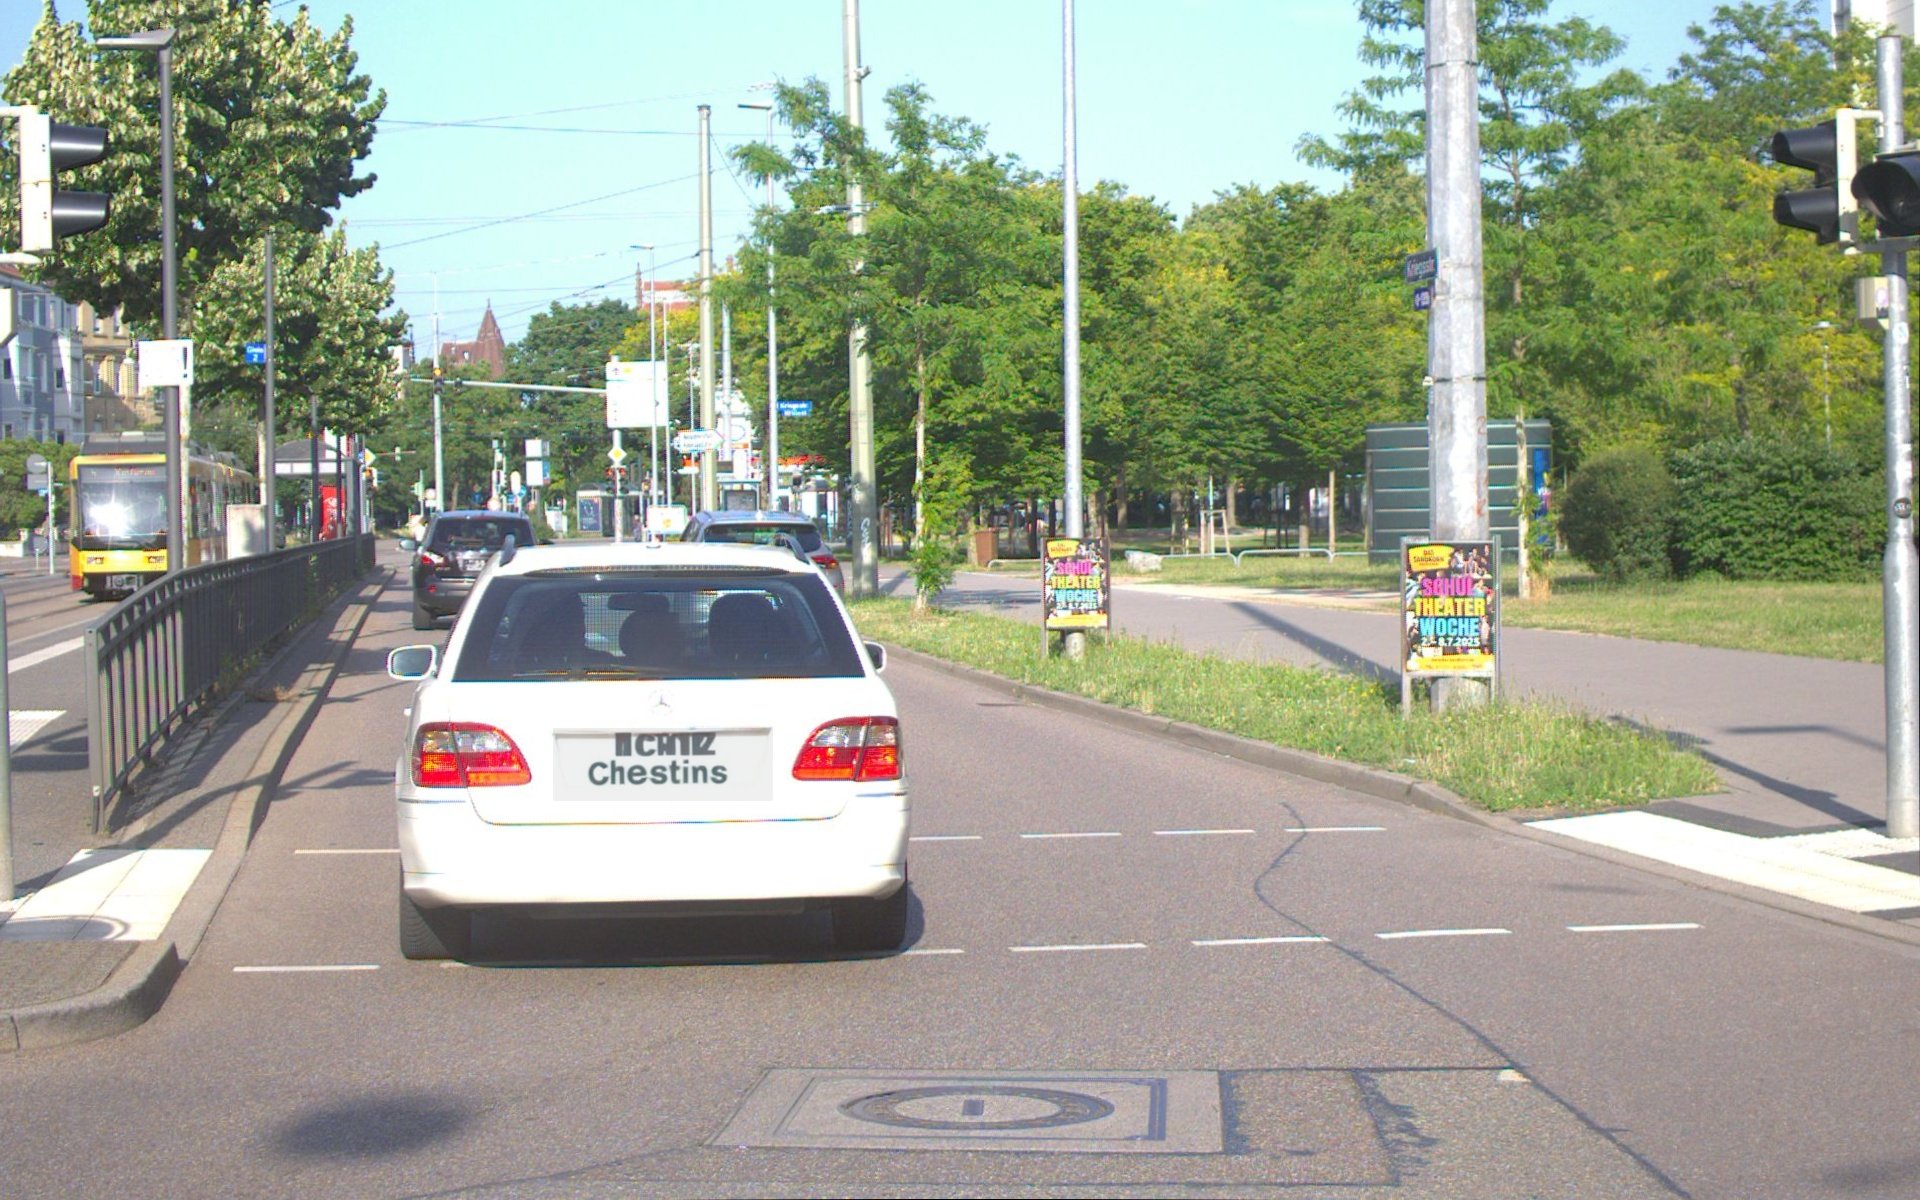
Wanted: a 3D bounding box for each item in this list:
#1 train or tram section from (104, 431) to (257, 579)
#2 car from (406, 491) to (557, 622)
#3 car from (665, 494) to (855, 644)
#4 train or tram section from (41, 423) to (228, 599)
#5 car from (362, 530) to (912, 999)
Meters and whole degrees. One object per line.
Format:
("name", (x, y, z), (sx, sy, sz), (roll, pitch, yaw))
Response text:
("train or tram section", (-19.692, -2.446, 87.504), (2.849, 3.467, 13.204), (0, 2, -9))
("car", (-6.402, -0.618, 46.314), (1.787, 1.684, 4.001), (0, 2, -5))
("car", (-2.302, -0.392, 38.743), (2.033, 1.599, 4.001), (0, 2, -5))
("train or tram section", (-17.741, -1.982, 74.613), (2.849, 3.467, 13.204), (0, 2, -9))
("car", (-1.191, 0.509, 13.058), (1.758, 1.498, 4.001), (0, 0, -4))
